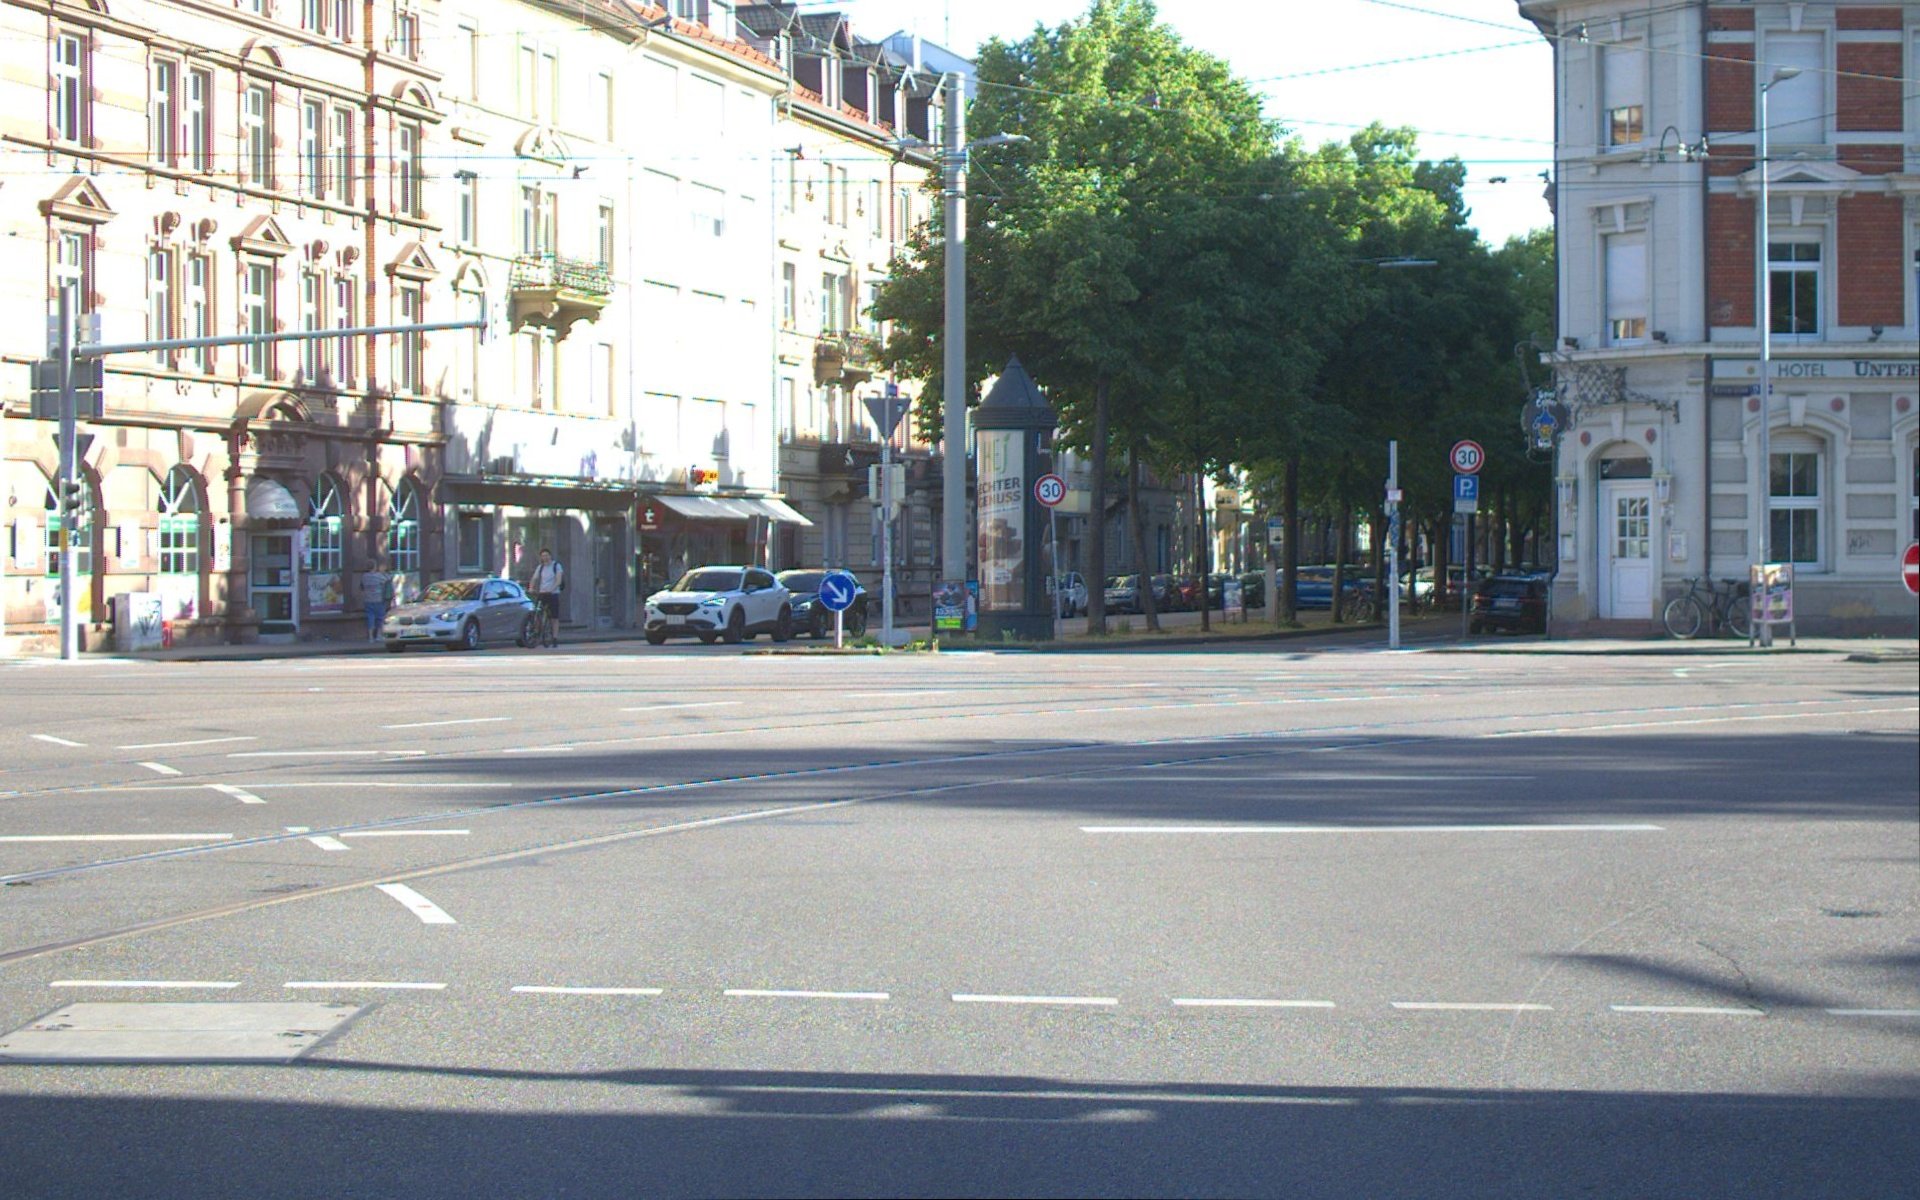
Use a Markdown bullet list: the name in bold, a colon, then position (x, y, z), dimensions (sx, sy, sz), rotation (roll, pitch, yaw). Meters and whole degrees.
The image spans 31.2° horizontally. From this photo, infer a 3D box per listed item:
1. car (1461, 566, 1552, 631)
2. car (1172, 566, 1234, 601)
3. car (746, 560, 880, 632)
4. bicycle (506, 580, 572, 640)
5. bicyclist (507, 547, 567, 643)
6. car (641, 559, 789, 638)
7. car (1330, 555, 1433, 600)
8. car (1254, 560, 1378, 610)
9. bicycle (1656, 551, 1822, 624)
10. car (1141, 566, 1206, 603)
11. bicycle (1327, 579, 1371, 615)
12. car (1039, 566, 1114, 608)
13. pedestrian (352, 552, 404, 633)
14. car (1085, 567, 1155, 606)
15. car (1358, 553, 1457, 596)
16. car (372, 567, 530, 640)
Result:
- **car**: position (13.148, -0.052, 82.574), dimensions (1.678, 1.478, 3.945), rotation (0, 1, 16)
- **car**: position (9.610, -0.649, 135.778), dimensions (1.678, 1.349, 3.588), rotation (0, 1, 17)
- **car**: position (-3.122, -0.104, 73.616), dimensions (1.678, 1.478, 3.945), rotation (0, 1, 16)
- **bicycle**: position (-7.981, 0.181, 65.265), dimensions (0.702, 1.114, 1.634), rotation (1, 1, 13)
- **bicyclist**: position (-8.016, -0.092, 65.139), dimensions (0.779, 1.797, 1.055), rotation (1, 0, 14)
- **car**: position (-4.763, -0.055, 67.314), dimensions (1.678, 1.478, 3.768), rotation (0, 1, 17)
- **car**: position (15.711, -0.840, 128.034), dimensions (3.582, 1.642, 1.681), rotation (0, 1, 17)
- **car**: position (11.989, -0.505, 115.679), dimensions (3.905, 1.642, 1.681), rotation (0, 1, 17)
- **bicycle**: position (12.968, -0.203, 57.276), dimensions (2.554, 1.170, 0.819), rotation (1, 0, -3)
- **car**: position (8.138, -0.611, 130.748), dimensions (1.678, 1.349, 3.588), rotation (0, 1, 17)
- **bicycle**: position (11.259, -0.099, 99.484), dimensions (0.636, 1.018, 1.847), rotation (1, 1, -14)
- **car**: position (3.931, -0.442, 115.480), dimensions (1.678, 1.349, 3.588), rotation (0, 1, 17)
- **pedestrian**: position (-12.052, -0.156, 71.200), dimensions (0.776, 1.664, 0.830), rotation (1, 0, 15)
- **car**: position (5.702, -0.484, 122.442), dimensions (1.678, 1.349, 3.588), rotation (0, 1, 17)
- **car**: position (17.385, -0.993, 133.507), dimensions (3.582, 1.642, 1.681), rotation (0, 1, 17)
- **car**: position (-9.874, 0.051, 66.910), dimensions (1.678, 1.349, 3.588), rotation (0, 1, 17)
